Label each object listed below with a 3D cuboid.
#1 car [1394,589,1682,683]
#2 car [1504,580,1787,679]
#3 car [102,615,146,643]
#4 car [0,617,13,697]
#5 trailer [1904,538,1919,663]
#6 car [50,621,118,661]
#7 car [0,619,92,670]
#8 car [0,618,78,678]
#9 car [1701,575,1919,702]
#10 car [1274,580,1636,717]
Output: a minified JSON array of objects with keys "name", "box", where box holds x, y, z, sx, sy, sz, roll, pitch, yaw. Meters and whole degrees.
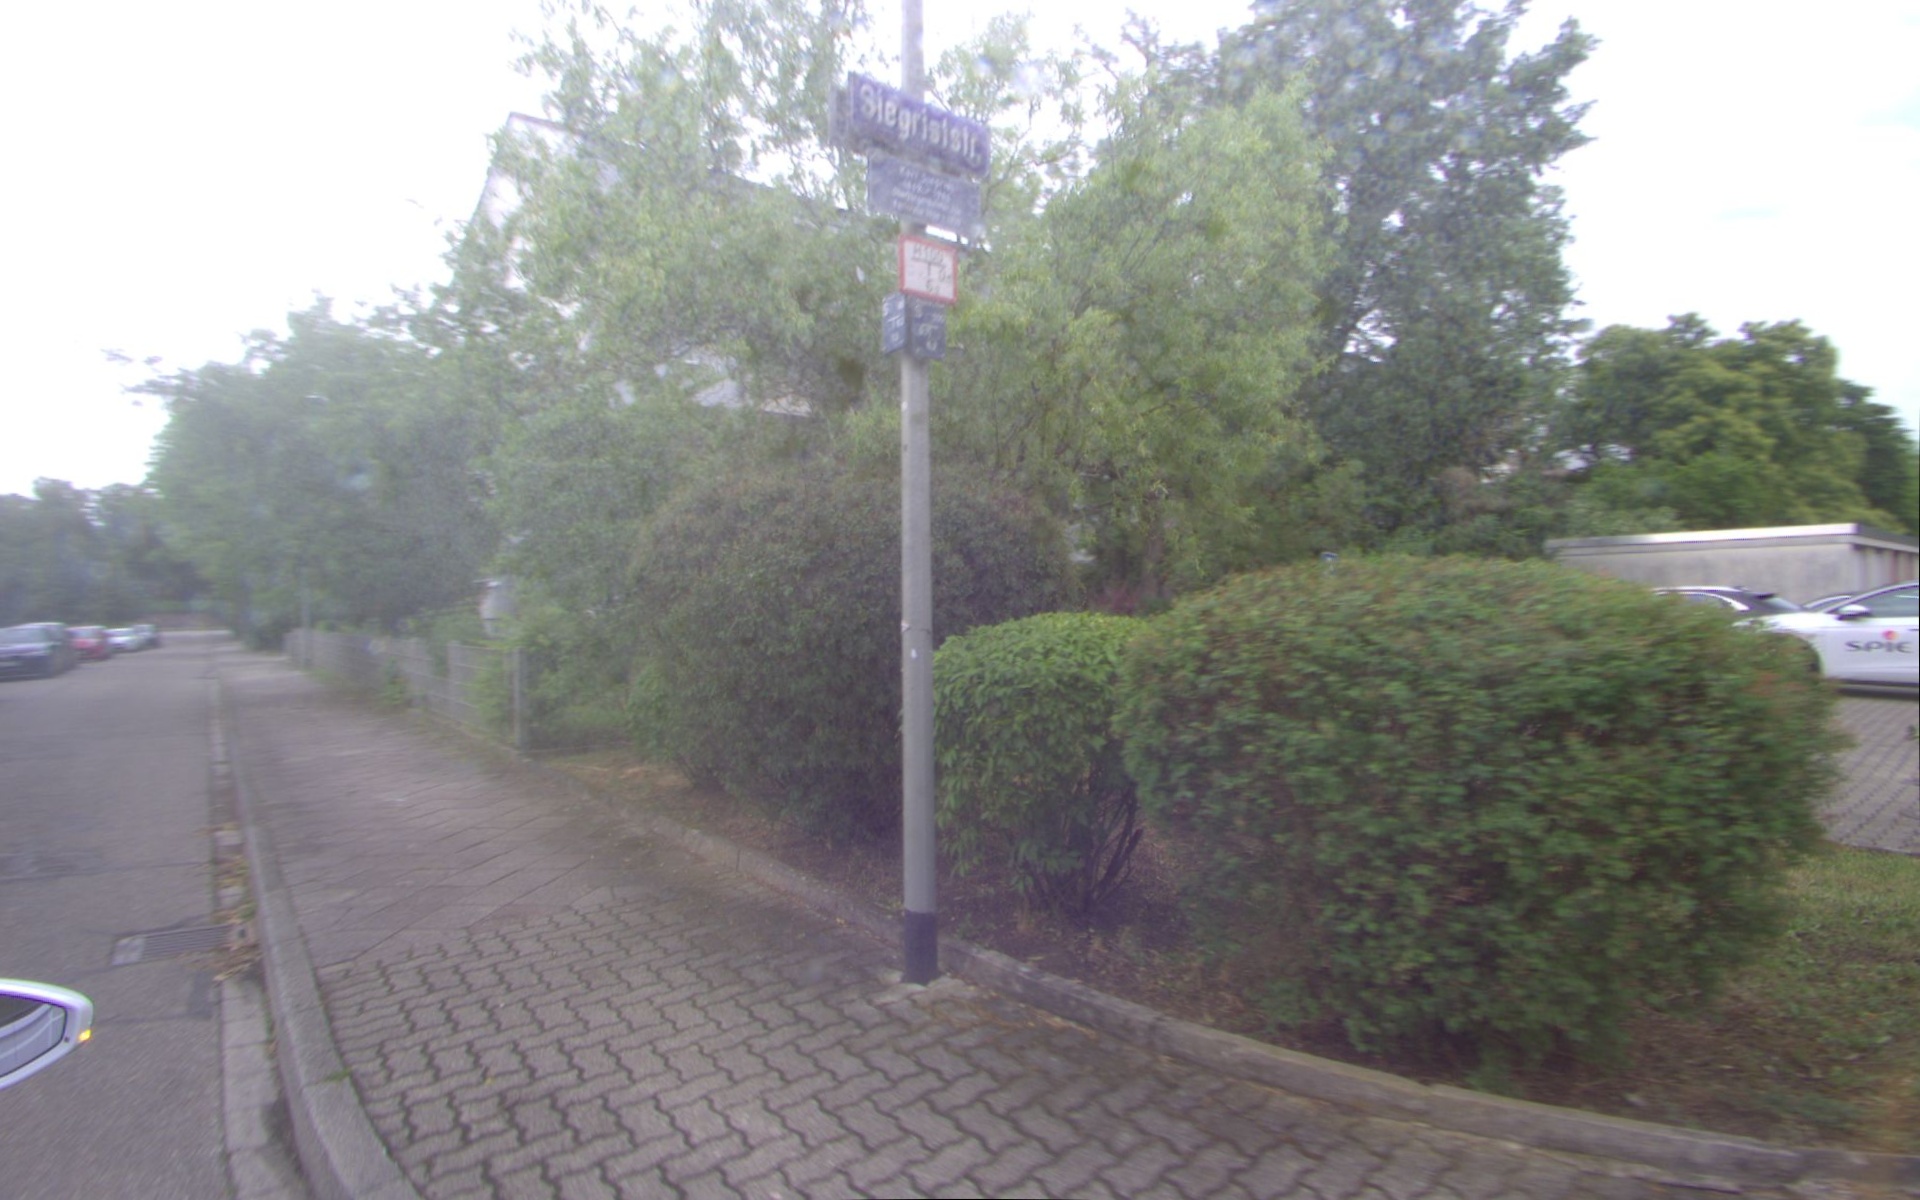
[{"name":"car","box":[9.765,0.548,17.134,1.950,1.399,3.876,-1,0,-40]},{"name":"car","box":[12.175,0.478,17.908,3.956,1.572,1.983,-1,0,42]},{"name":"car","box":[-50.071,1.699,60.049,1.736,1.539,3.971,-1,0,-36]},{"name":"car","box":[-17.628,1.074,16.834,1.759,1.447,4.447,-4,2,-35]},{"name":"trailer","box":[21.492,-0.030,19.266,1.918,2.558,4.592,-1,0,-36]},{"name":"car","box":[-36.749,1.676,42.068,1.735,1.444,3.971,-4,2,-36]},{"name":"car","box":[-29.849,1.417,32.815,1.735,1.444,3.971,-4,2,-36]},{"name":"car","box":[-25.573,1.276,27.384,1.735,1.444,3.971,-4,2,-36]},{"name":"car","box":[12.878,0.482,13.335,1.965,1.610,4.515,-1,0,-39]},{"name":"car","box":[6.436,0.553,13.322,2.005,1.530,3.876,-1,0,-40]}]
